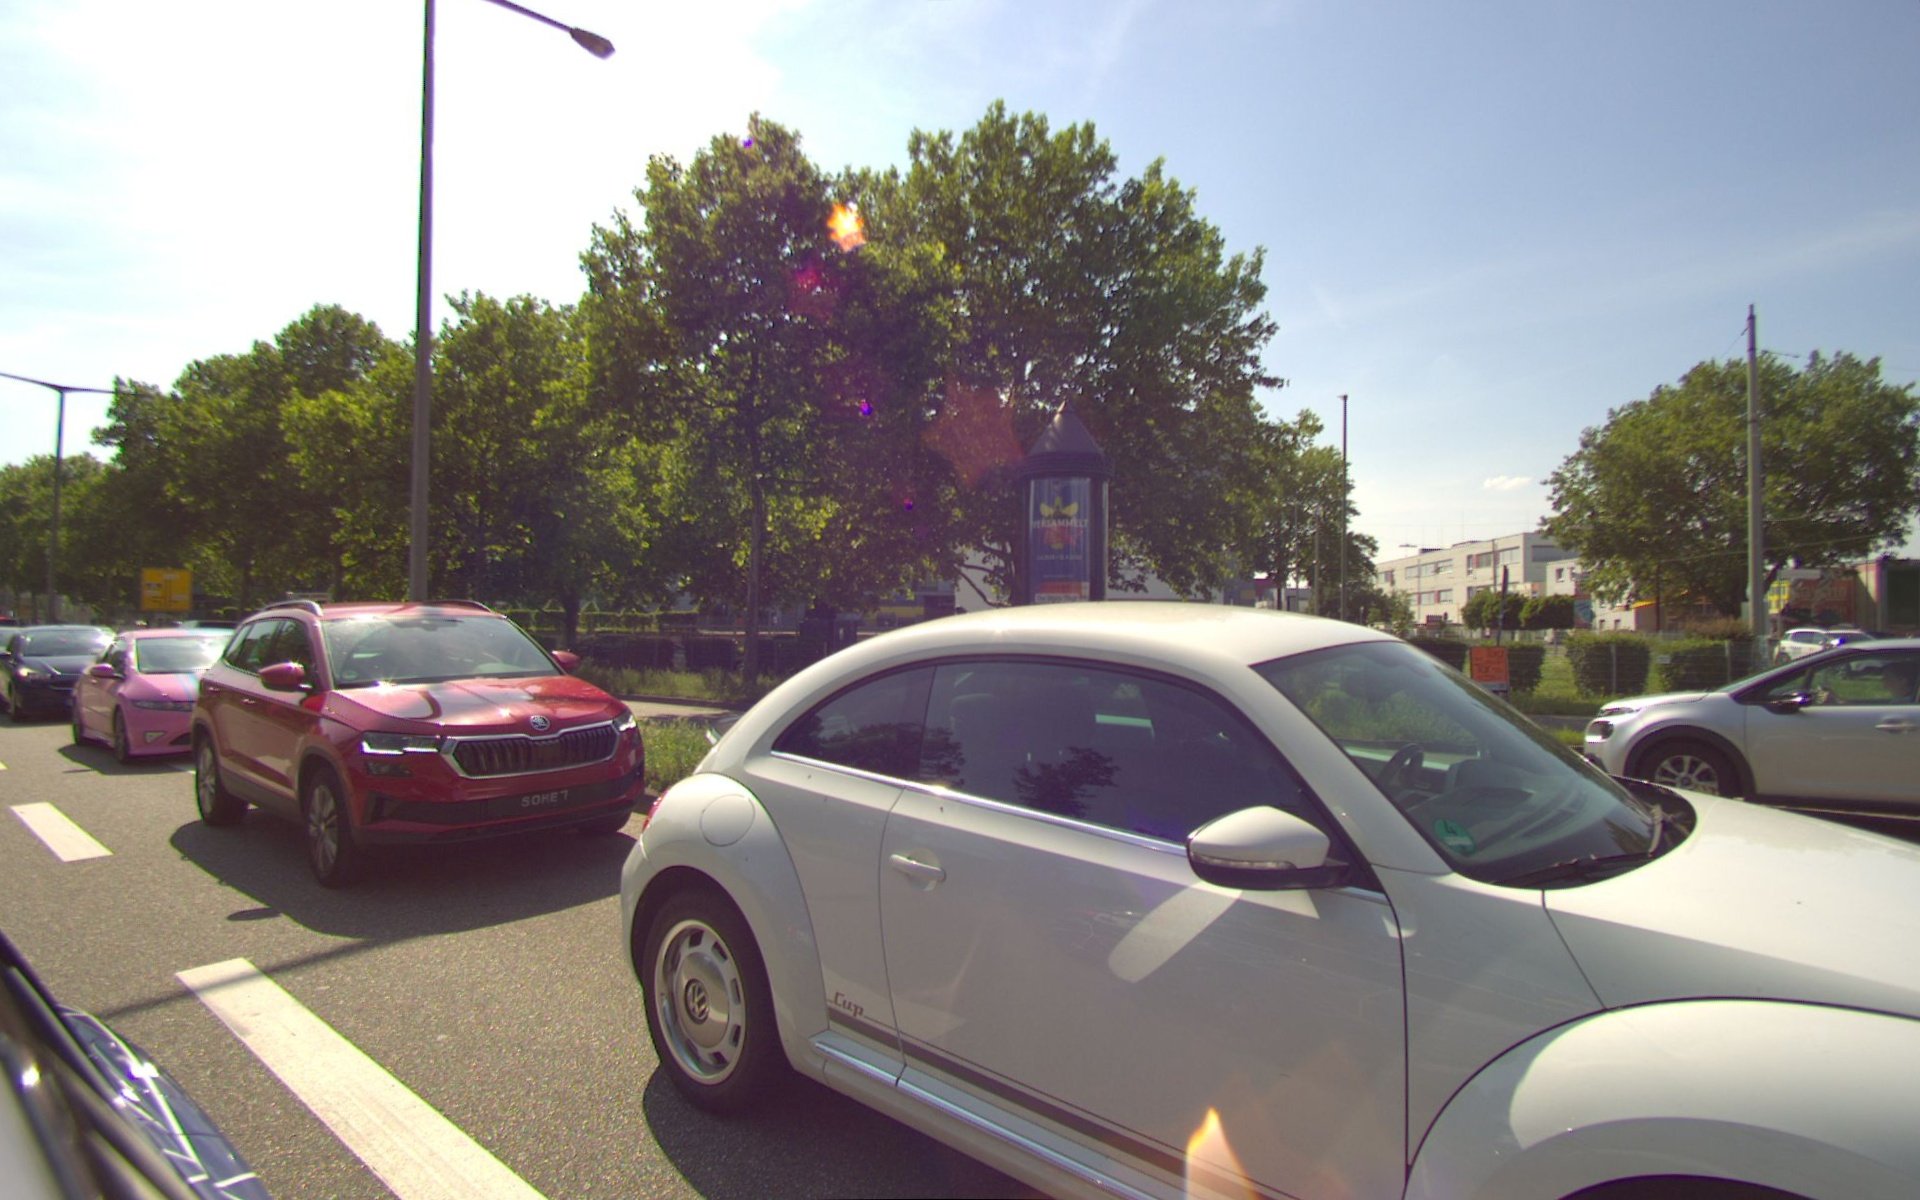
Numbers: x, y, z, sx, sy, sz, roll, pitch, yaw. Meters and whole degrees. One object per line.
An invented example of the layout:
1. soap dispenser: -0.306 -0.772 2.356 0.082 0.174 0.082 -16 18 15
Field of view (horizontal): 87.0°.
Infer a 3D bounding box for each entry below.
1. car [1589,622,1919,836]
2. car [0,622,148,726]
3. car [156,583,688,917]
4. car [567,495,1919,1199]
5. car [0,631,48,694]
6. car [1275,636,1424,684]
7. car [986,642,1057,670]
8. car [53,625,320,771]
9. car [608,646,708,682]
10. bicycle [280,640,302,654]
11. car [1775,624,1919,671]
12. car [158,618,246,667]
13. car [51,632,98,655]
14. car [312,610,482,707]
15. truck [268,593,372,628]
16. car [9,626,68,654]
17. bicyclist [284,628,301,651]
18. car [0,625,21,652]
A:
1. car: 7.267 0.939 7.673 3.999 1.482 1.756 -2 -4 42
2. car: -14.926 1.143 16.763 4.046 1.494 1.609 -2 -1 41
3. car: -3.972 0.782 7.058 4.591 1.605 1.764 -2 -2 41
4. car: 0.851 0.651 2.589 4.133 1.490 1.748 -2 -1 41
5. car: -24.780 1.552 25.767 4.213 1.518 1.803 -2 -2 41
6. car: 14.434 2.217 37.736 4.780 1.678 1.998 1 -3 3
7. car: 3.745 3.383 61.170 3.932 1.516 1.810 0 -4 -33
8. car: -9.341 1.029 12.078 4.470 1.400 1.684 -2 -1 41
9. car: -13.371 2.814 44.984 1.802 1.424 3.951 0 -1 36
10. bicycle: -43.743 3.068 66.181 1.925 0.873 0.682 -1 -3 42
11. car: 29.297 1.534 33.228 1.975 1.431 4.025 0 -2 5
12. car: -32.771 1.834 43.684 5.211 2.029 1.972 -2 -3 42
13. car: -57.776 2.815 66.009 4.357 1.409 1.768 -1 -4 42
14. car: -11.627 1.152 20.777 4.401 1.764 1.842 -2 -3 45
15. truck: -63.097 1.074 99.867 8.877 3.421 2.669 0 -2 6
16. car: -52.501 2.256 57.622 4.680 1.542 1.972 -2 -3 42
17. bicyclist: -43.614 2.602 66.090 0.941 1.496 0.674 -2 -3 42
18. car: -68.582 2.711 71.846 5.415 1.898 2.095 -2 -3 40
